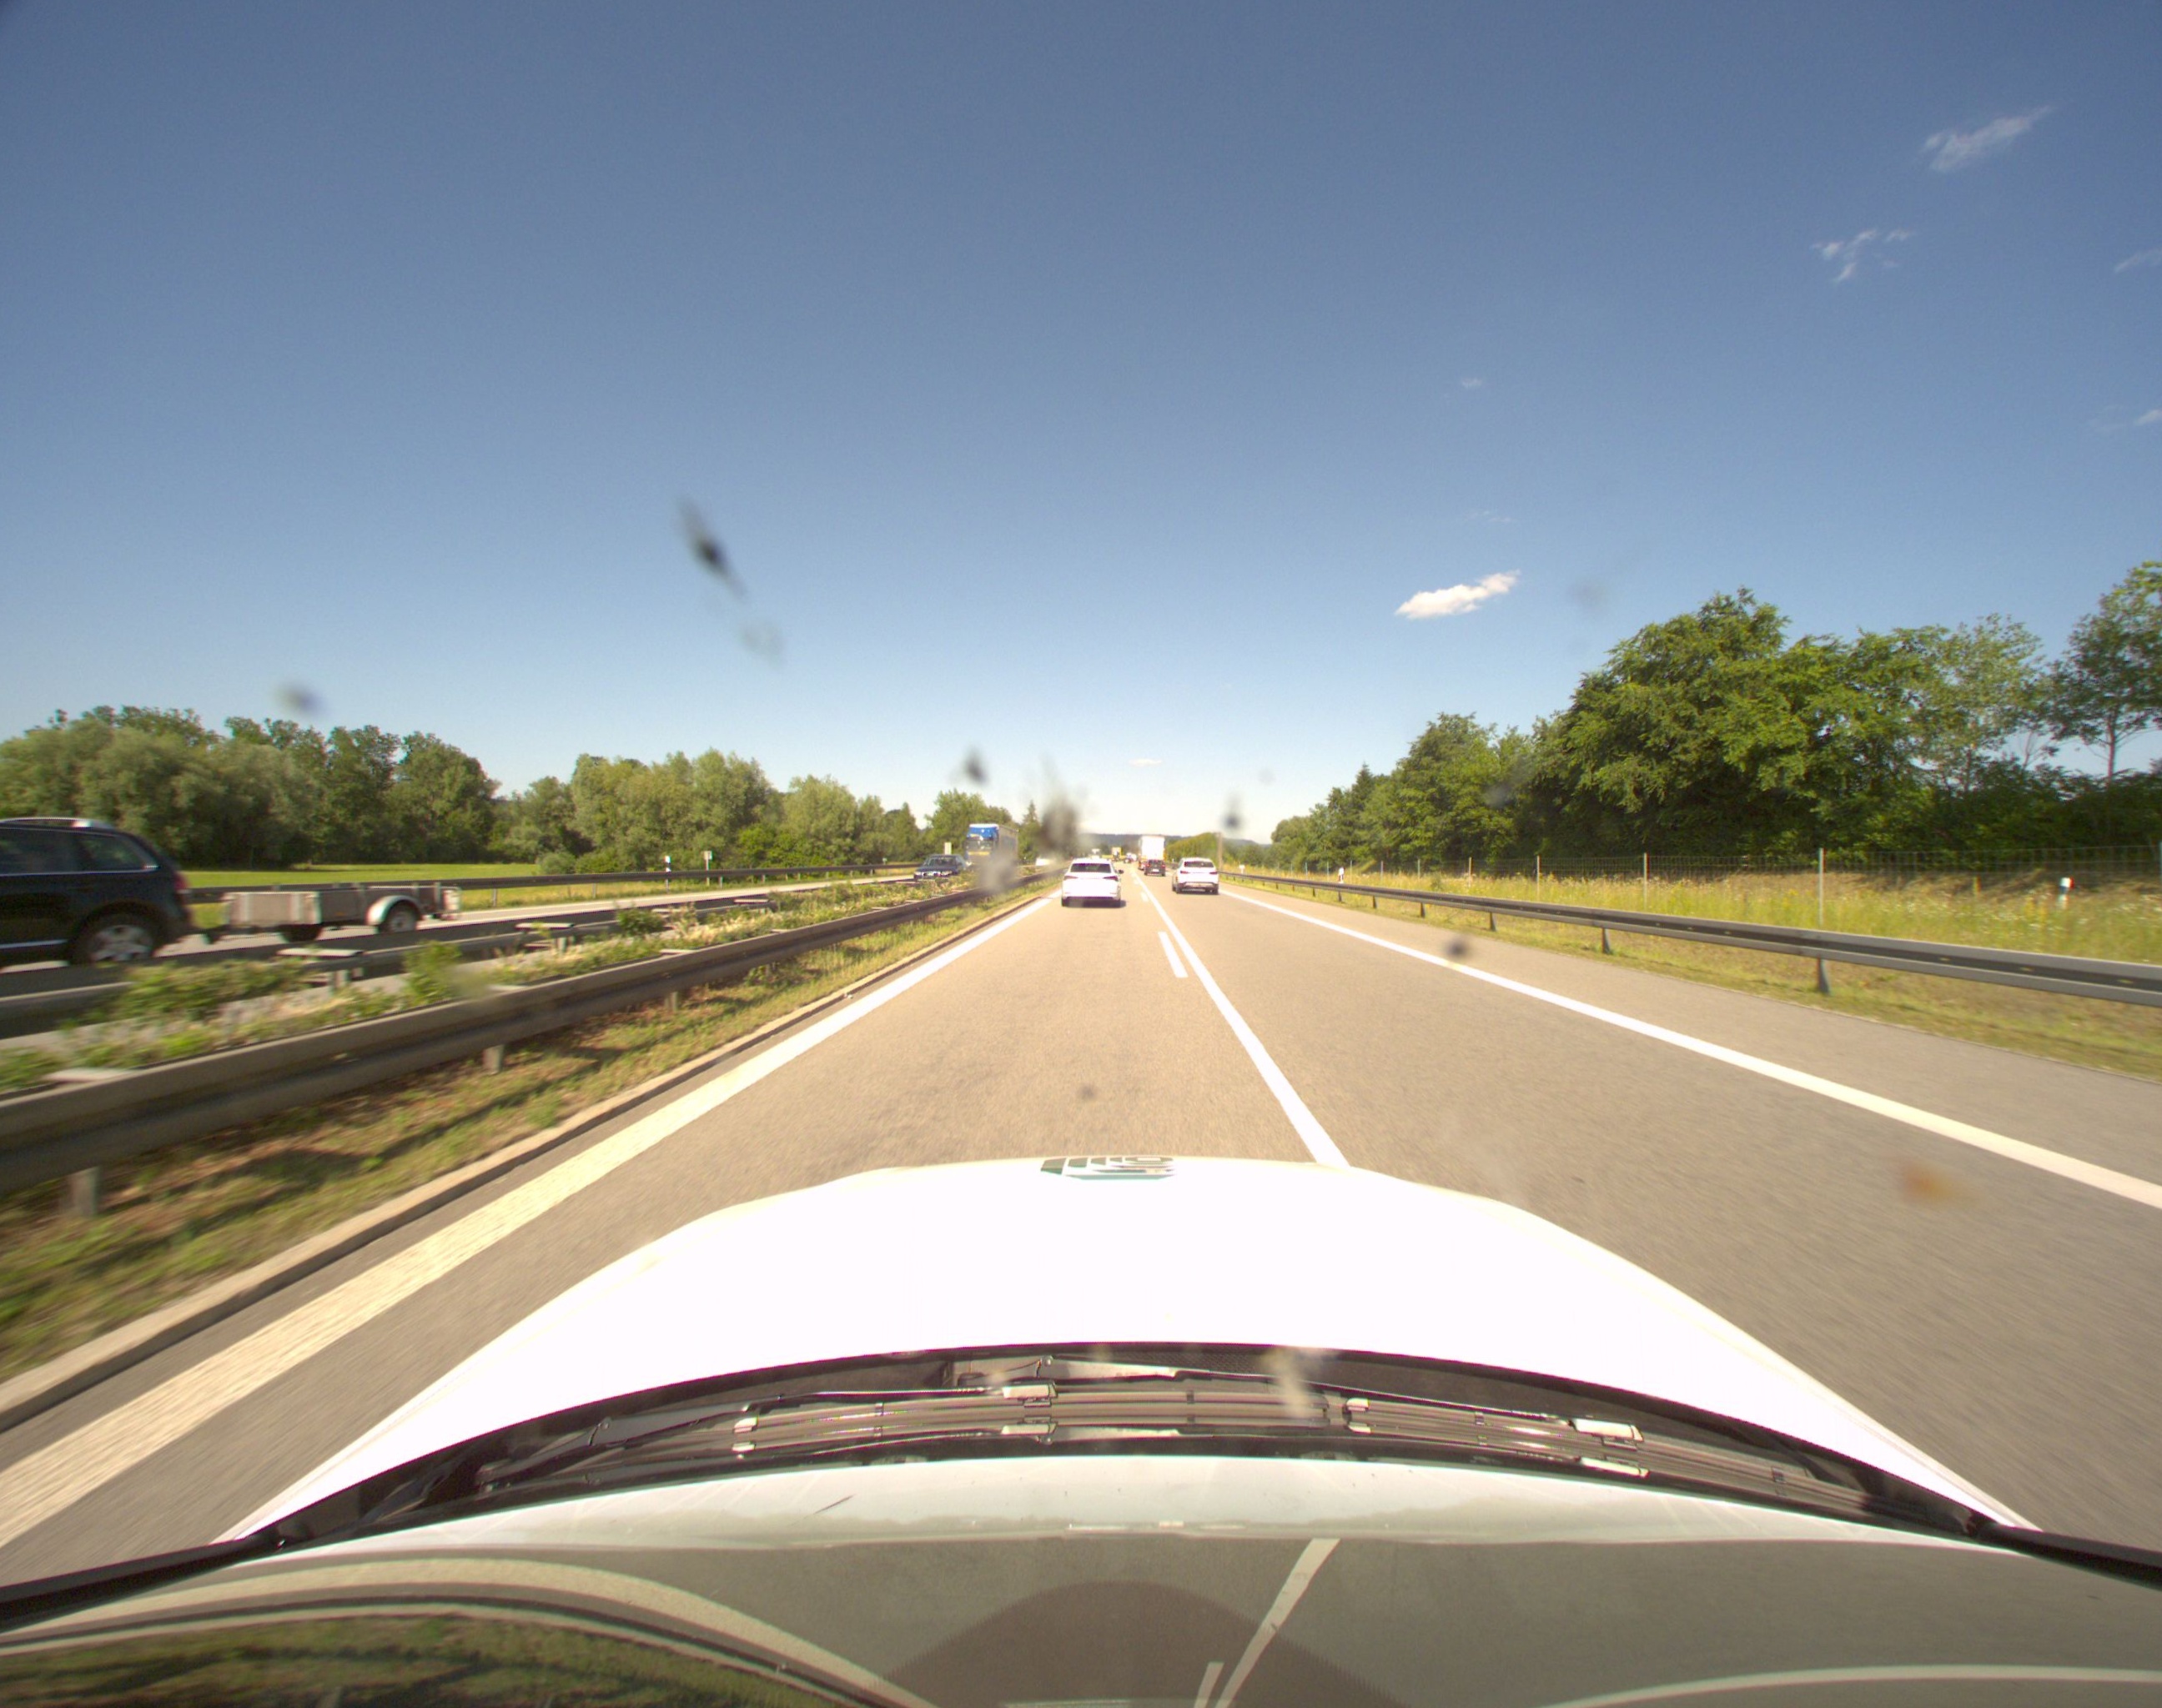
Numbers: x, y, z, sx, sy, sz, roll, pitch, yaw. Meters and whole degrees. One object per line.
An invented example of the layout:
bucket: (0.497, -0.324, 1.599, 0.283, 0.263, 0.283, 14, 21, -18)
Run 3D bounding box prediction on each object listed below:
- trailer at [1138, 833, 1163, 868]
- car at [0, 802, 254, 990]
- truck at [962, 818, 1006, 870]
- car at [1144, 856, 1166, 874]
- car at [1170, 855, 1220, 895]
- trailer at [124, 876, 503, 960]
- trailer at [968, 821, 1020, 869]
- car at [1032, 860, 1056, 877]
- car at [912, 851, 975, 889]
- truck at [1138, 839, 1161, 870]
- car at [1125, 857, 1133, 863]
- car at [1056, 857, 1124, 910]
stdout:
trailer: (8.396, -0.361, 99.313, 2.806, 3.966, 14.175, 0, 0, 4)
car: (-11.300, 0.415, 7.684, 1.842, 1.804, 4.874, -1, -1, 3)
truck: (-8.327, -0.820, 70.635, 2.729, 4.303, 6.338, 0, 0, 2)
car: (6.326, 0.908, 70.064, 1.658, 1.454, 4.548, 3, 0, 3)
car: (4.970, 0.860, 36.042, 1.678, 1.496, 4.991, 3, 1, 3)
trailer: (-11.053, 0.856, 12.218, 1.735, 0.936, 4.023, 0, 0, 3)
trailer: (-8.036, -0.728, 77.590, 2.776, 4.160, 14.402, 0, 0, 2)
car: (-3.716, 1.466, 83.097, 1.986, 1.665, 4.636, -1, 0, 2)
car: (-5.839, 0.659, 35.107, 1.674, 1.459, 4.928, -2, 0, 2)
truck: (8.834, 0.083, 106.045, 2.828, 3.966, 7.050, 0, 0, 3)
car: (11.688, 1.427, 198.531, 1.763, 1.421, 4.500, 2, 0, 4)
car: (0.392, 0.840, 25.762, 1.832, 1.421, 5.259, 2, 0, 3)
